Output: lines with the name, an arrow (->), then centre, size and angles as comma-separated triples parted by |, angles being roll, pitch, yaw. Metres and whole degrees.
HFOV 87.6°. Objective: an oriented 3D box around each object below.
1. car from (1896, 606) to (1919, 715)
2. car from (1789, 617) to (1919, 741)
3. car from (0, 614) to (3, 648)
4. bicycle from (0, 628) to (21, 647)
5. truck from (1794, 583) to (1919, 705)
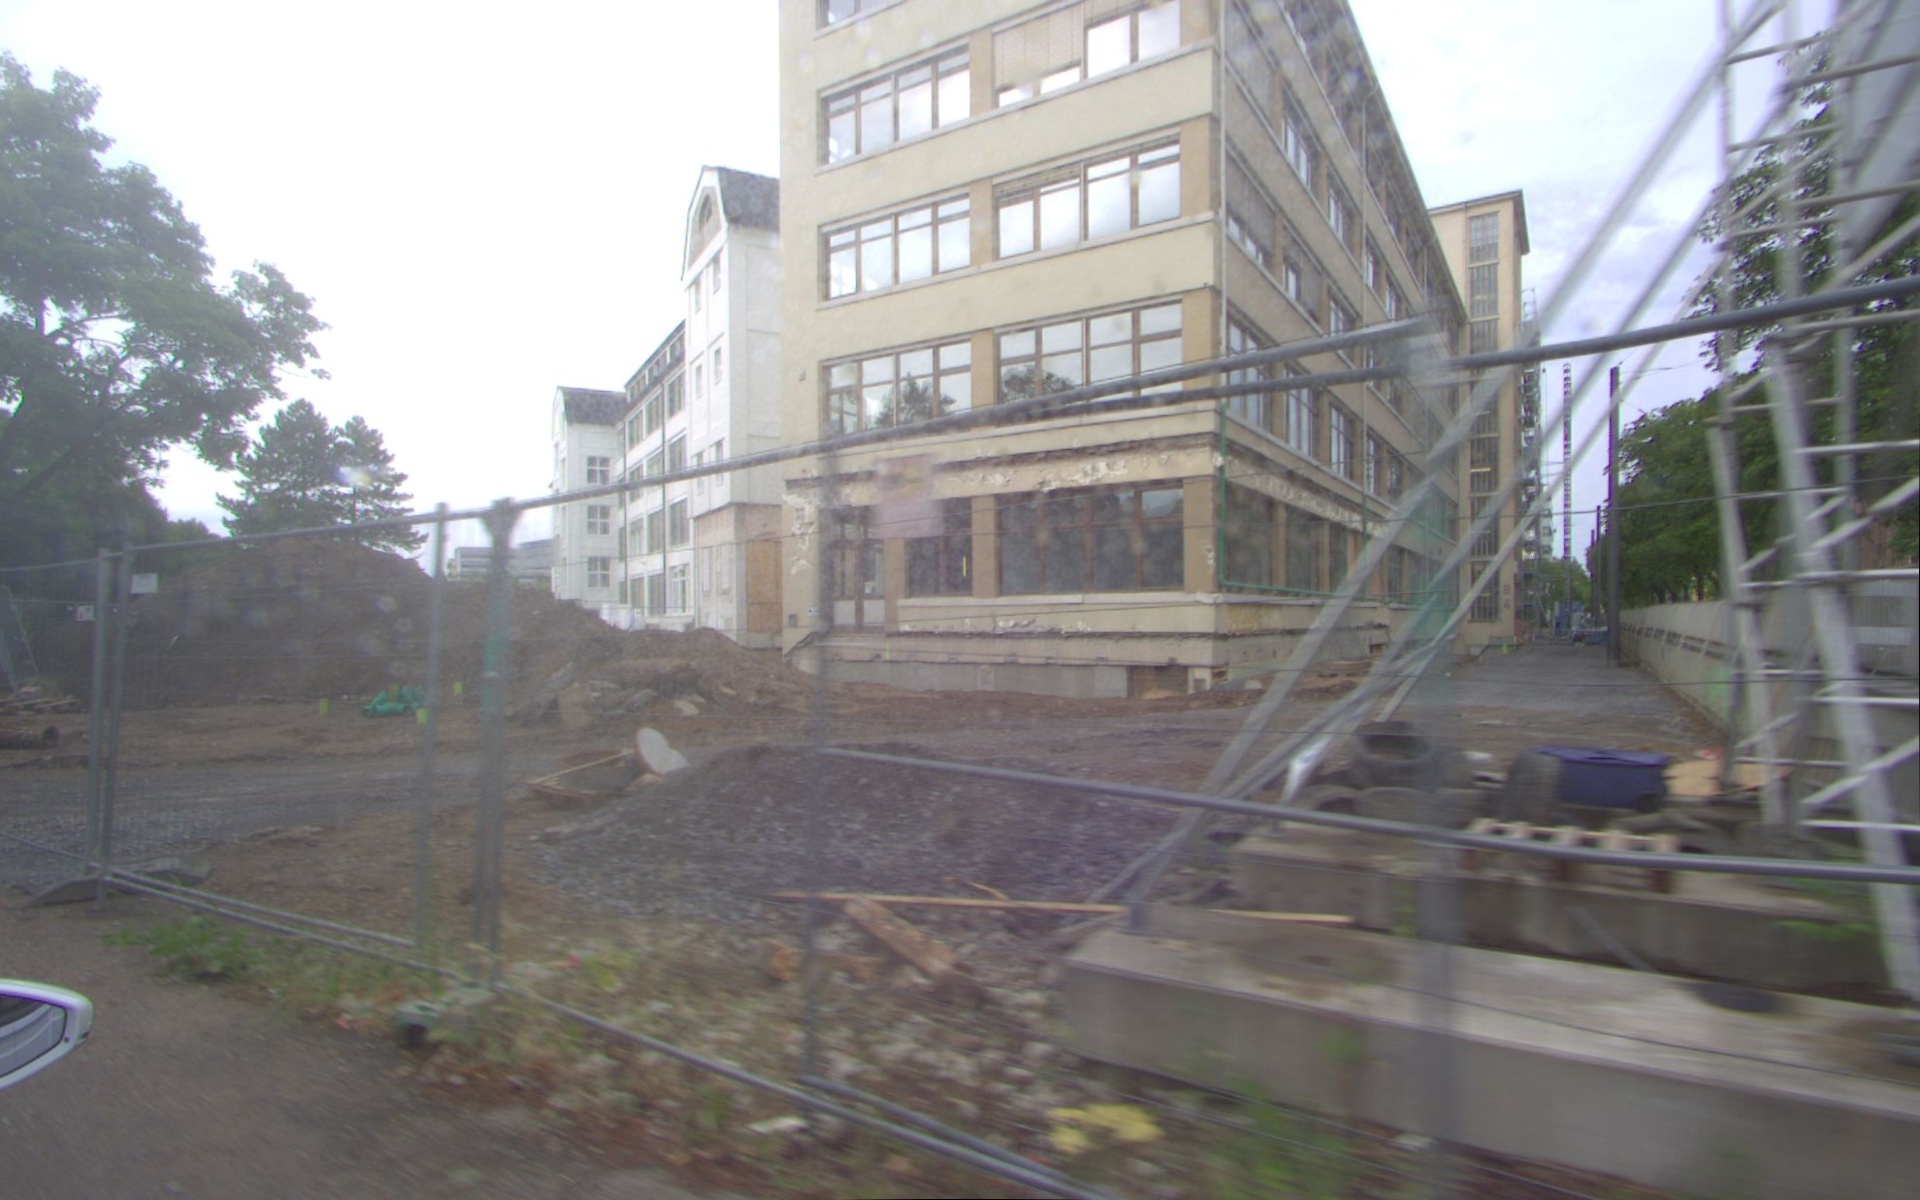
car -> 16.617, 1.043, 15.946 | 1.634, 1.837, 4.063 | 2, 1, 32
car -> 21.700, 1.749, 23.995 | 2.089, 2.636, 5.463 | -1, -1, 32
car -> -45.046, 1.371, 44.180 | 3.656, 1.520, 1.859 | 1, -1, -28
bicycle -> -49.903, 1.957, 52.593 | 0.765, 0.990, 2.013 | 1, -1, -41
truck -> 21.917, 0.995, 24.113 | 2.089, 2.636, 5.463 | -1, -1, 32
